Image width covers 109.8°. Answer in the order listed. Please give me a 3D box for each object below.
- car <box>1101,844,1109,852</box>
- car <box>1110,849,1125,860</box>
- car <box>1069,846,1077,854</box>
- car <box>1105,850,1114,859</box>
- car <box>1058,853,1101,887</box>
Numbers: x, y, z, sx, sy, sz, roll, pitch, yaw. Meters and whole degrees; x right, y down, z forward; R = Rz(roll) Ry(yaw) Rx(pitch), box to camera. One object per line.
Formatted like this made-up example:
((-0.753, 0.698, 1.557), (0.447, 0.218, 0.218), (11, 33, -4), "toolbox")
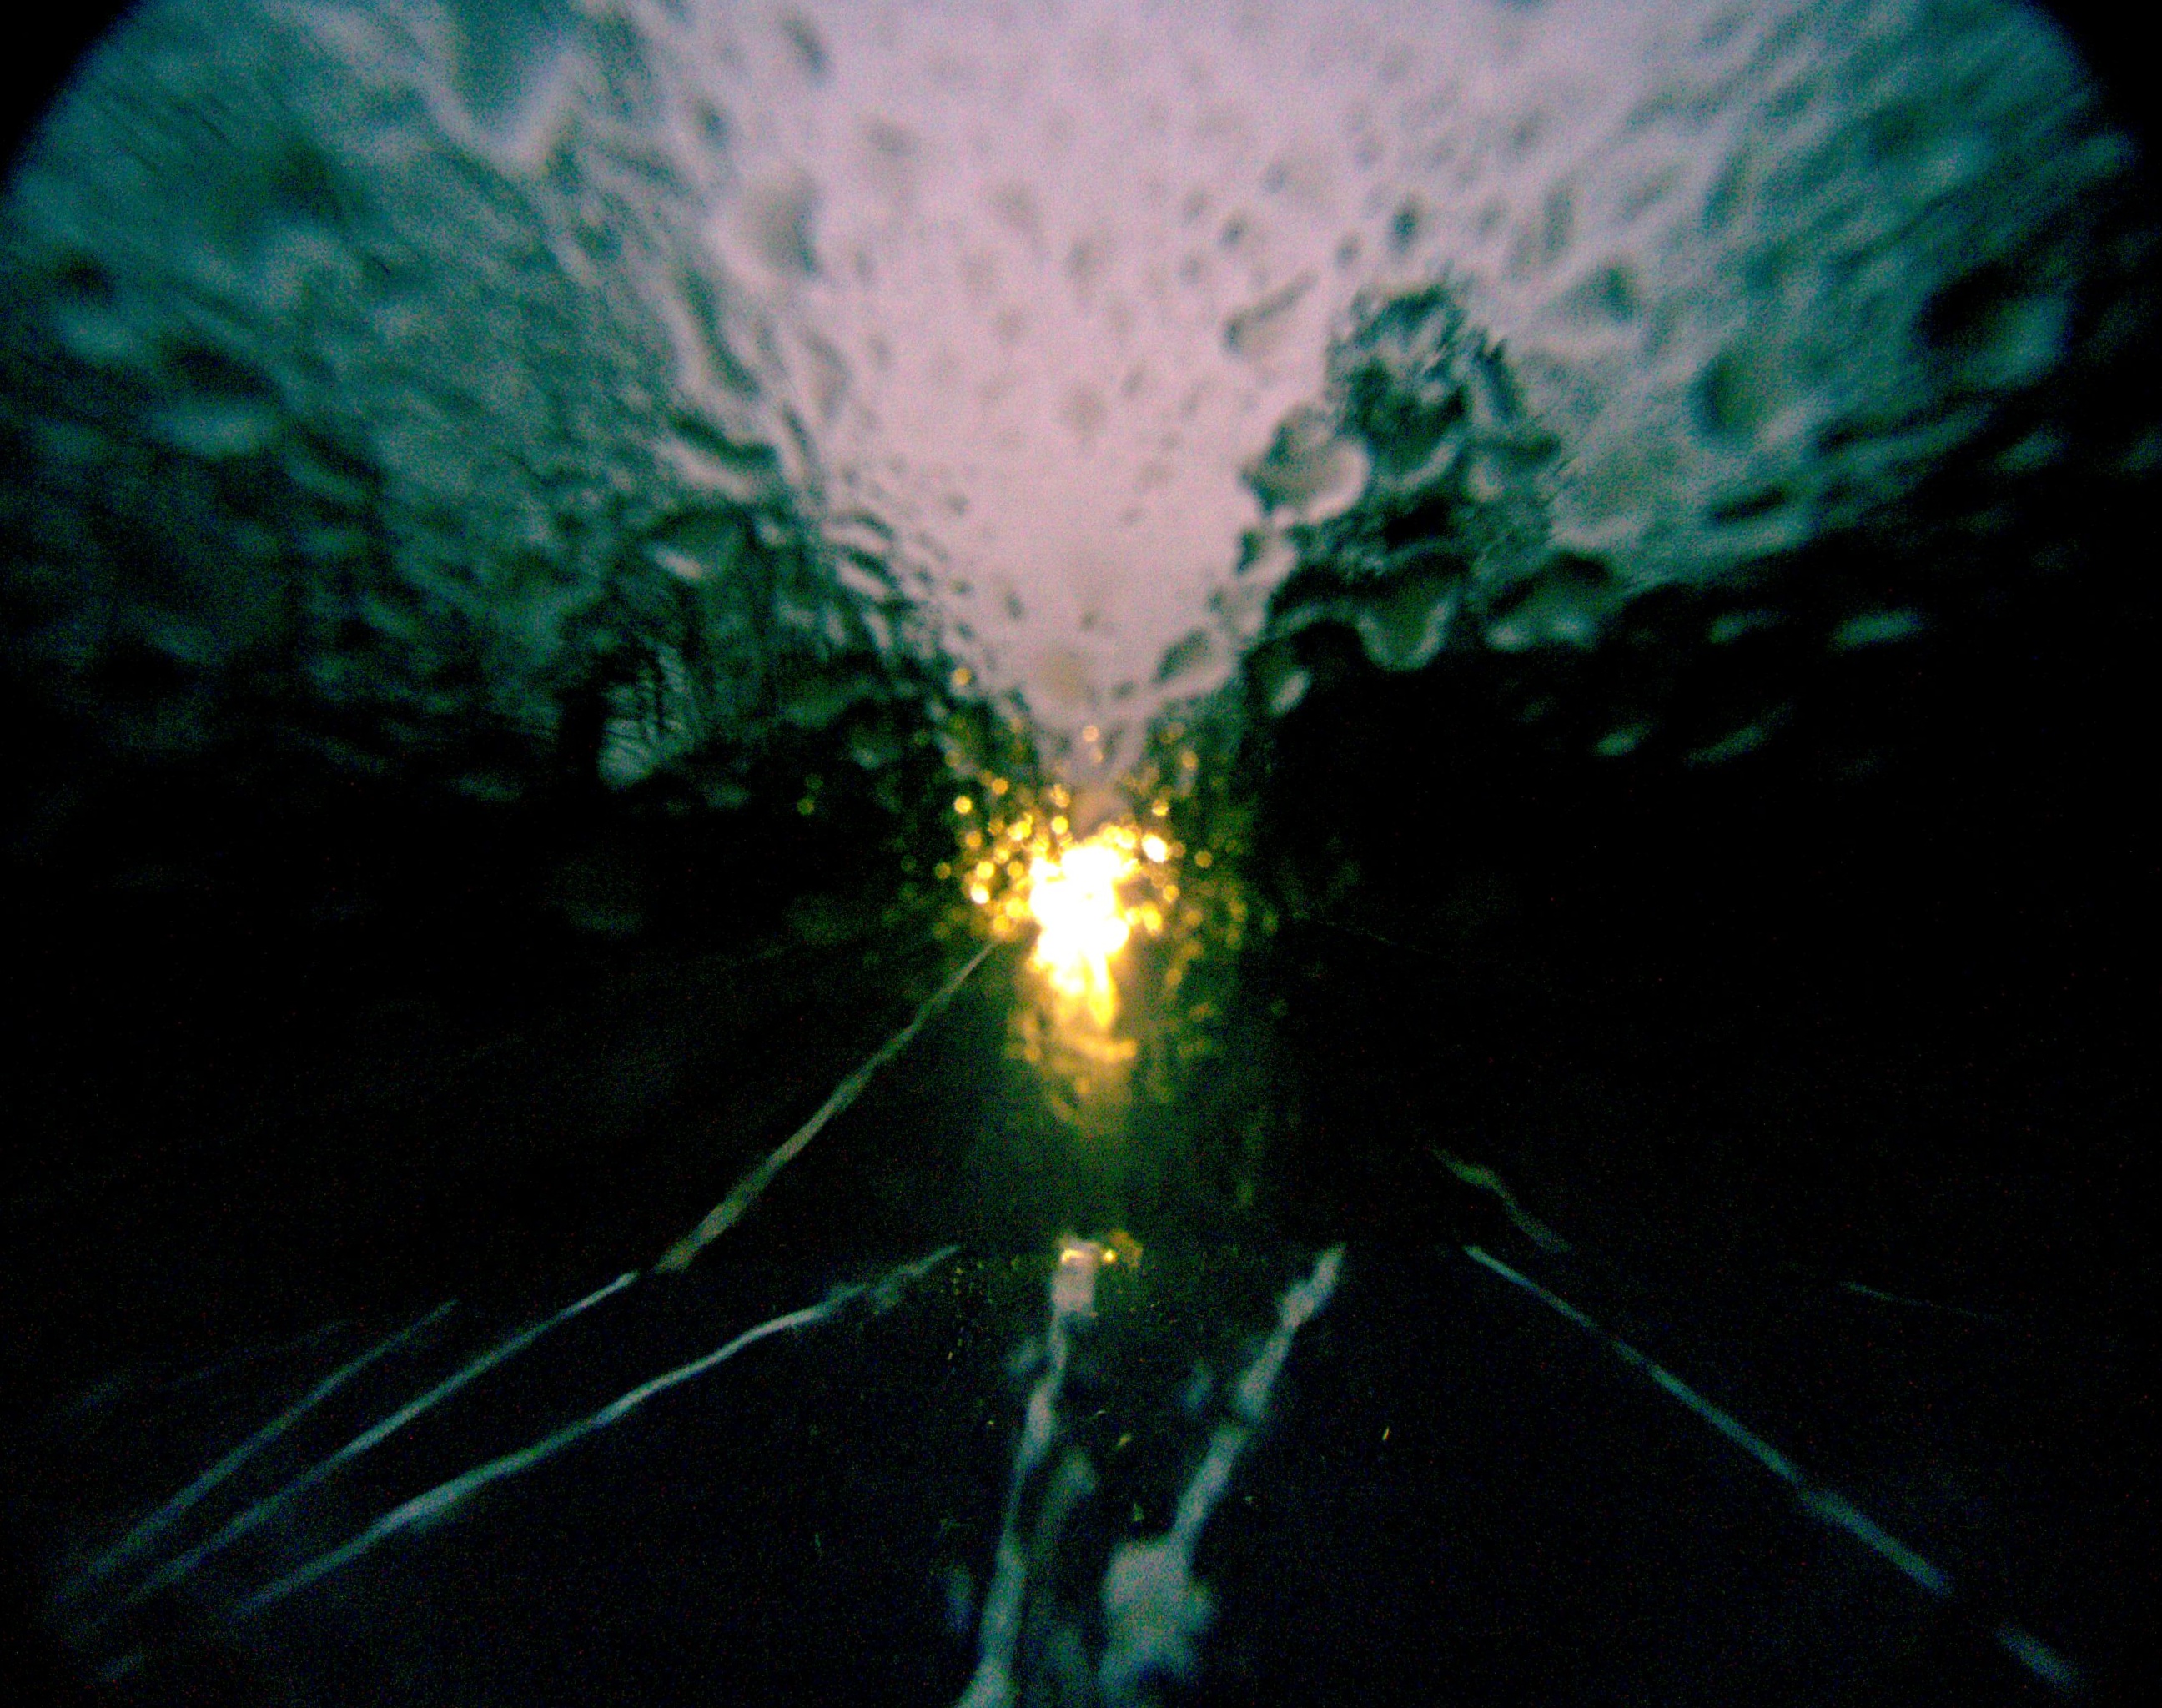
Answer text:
((6.349, -1.724, 203.753), (1.998, 2.002, 3.999), (-2, 1, 0), "car")
((4.722, 0.076, 98.483), (1.708, 1.355, 4.375), (-1, 0, -1), "car")
((-2.223, -0.992, 201.481), (1.998, 2.002, 3.999), (-2, 1, 0), "car")
((4.862, 0.123, 129.704), (1.517, 1.405, 3.660), (1, 1, 1), "car")
((-0.028, 0.670, 34.557), (1.845, 1.390, 4.000), (0, 1, 1), "car")
